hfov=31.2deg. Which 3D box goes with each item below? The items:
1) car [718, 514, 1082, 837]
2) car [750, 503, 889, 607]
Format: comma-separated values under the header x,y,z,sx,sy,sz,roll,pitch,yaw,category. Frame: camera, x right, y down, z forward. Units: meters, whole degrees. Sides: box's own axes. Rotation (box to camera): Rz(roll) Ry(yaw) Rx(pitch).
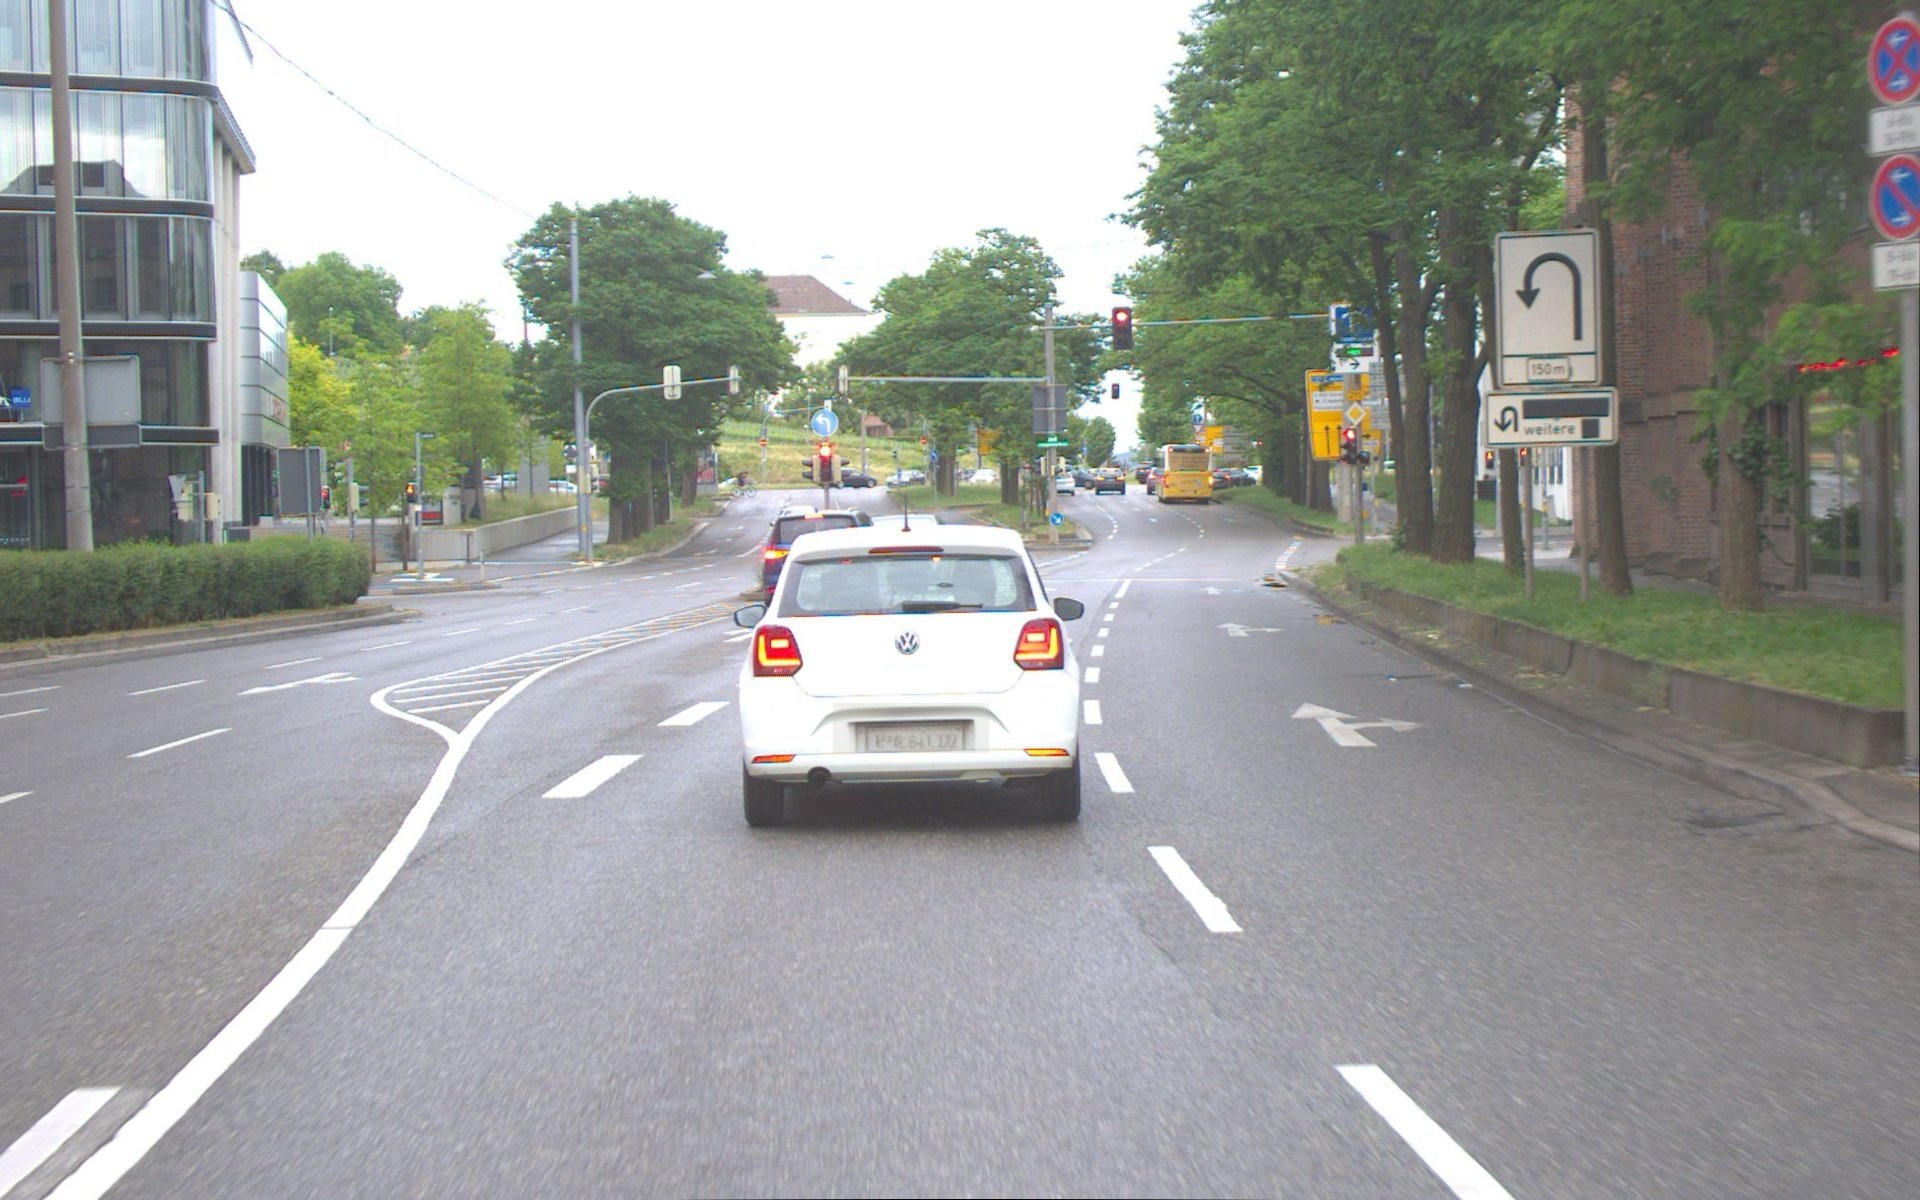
x,y,z,sx,sy,sz,roll,pitch,yaw,category
-0.299,0.305,17.866,1.671,1.469,3.780,-1,2,-1,car
-2.221,-0.754,55.476,1.993,1.568,4.000,-1,2,1,car
